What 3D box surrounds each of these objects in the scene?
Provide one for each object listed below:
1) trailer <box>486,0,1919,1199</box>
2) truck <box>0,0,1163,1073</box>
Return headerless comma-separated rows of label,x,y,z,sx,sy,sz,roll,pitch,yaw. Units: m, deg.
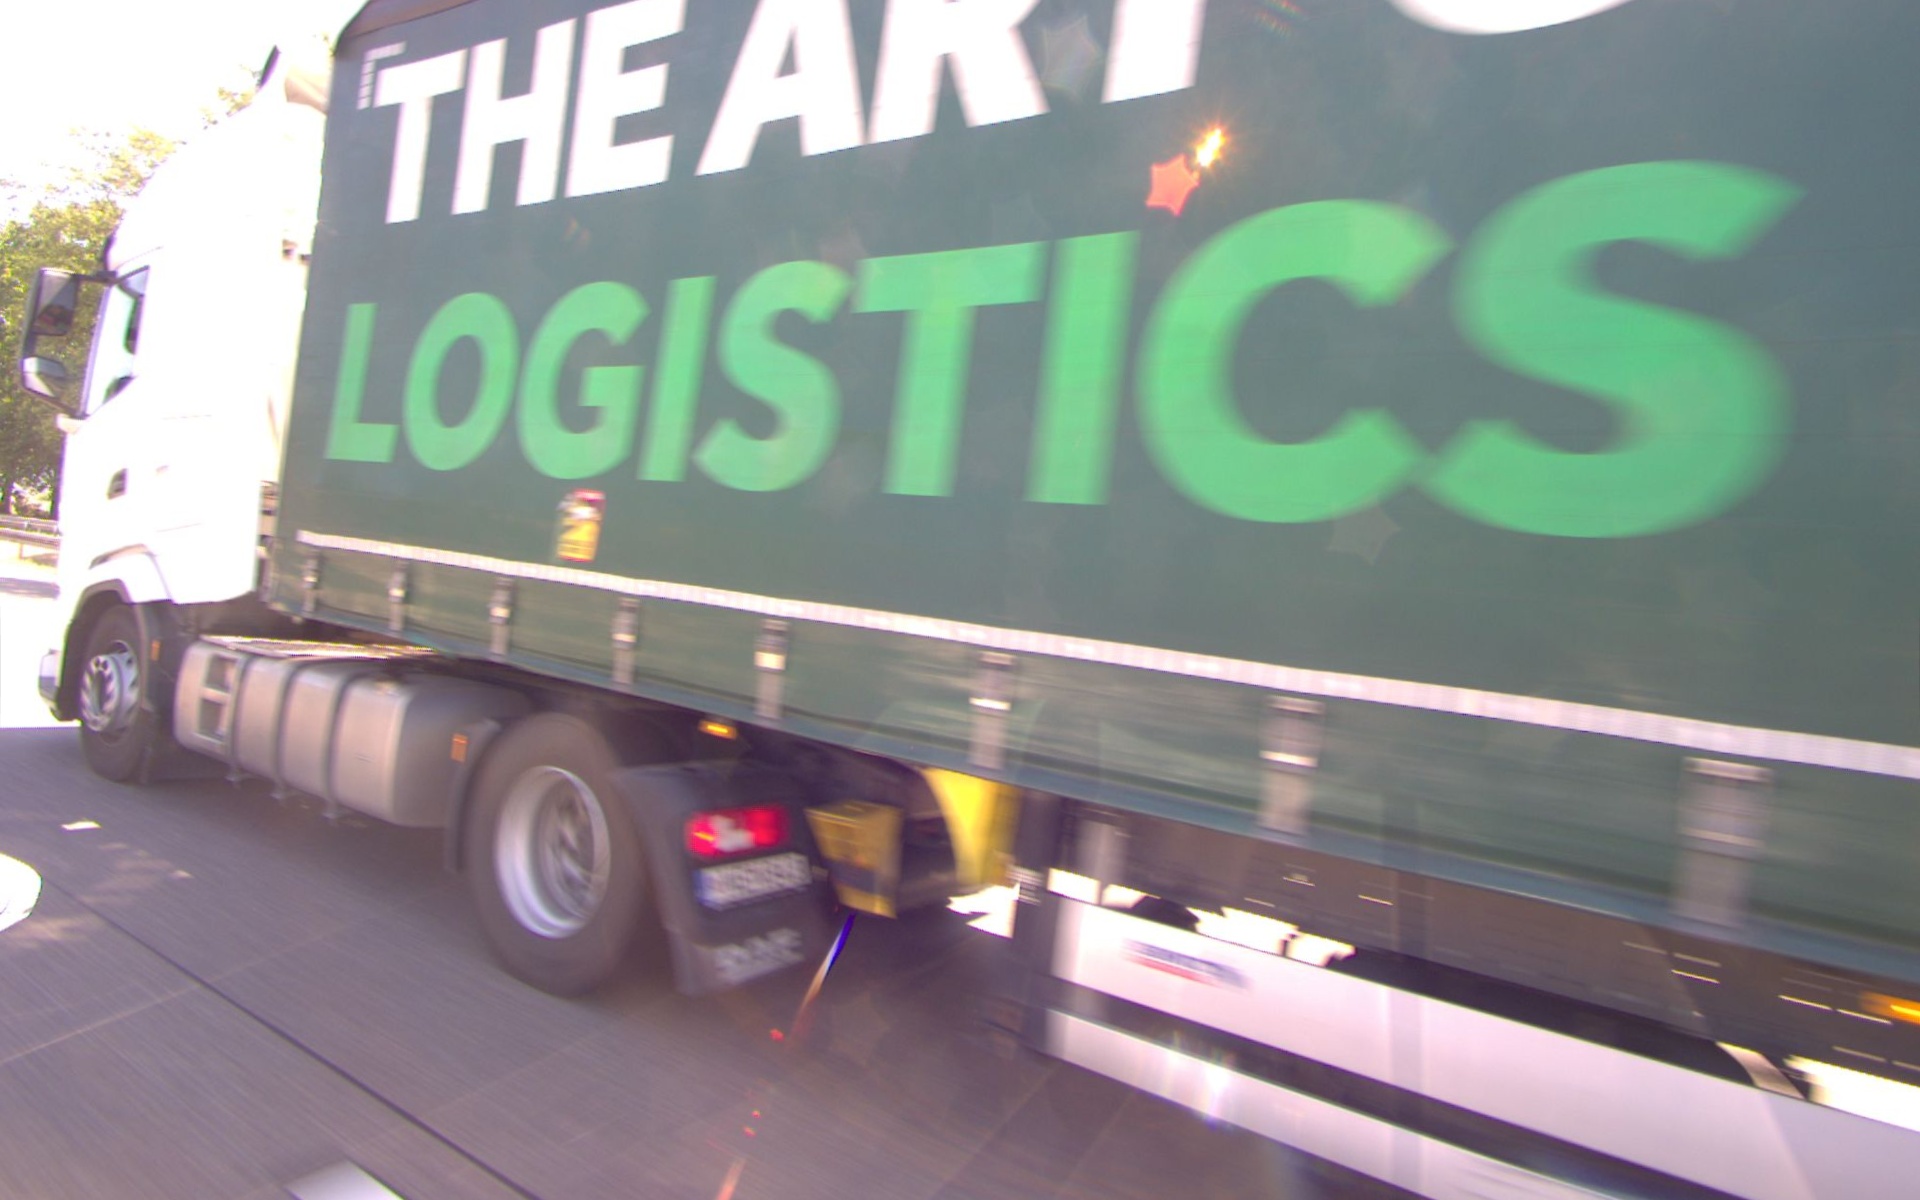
trailer,5.681,-0.009,0.778,14.730,4.322,2.862,6,-2,31
truck,-2.748,-0.941,5.926,6.749,4.322,2.862,6,-1,31
